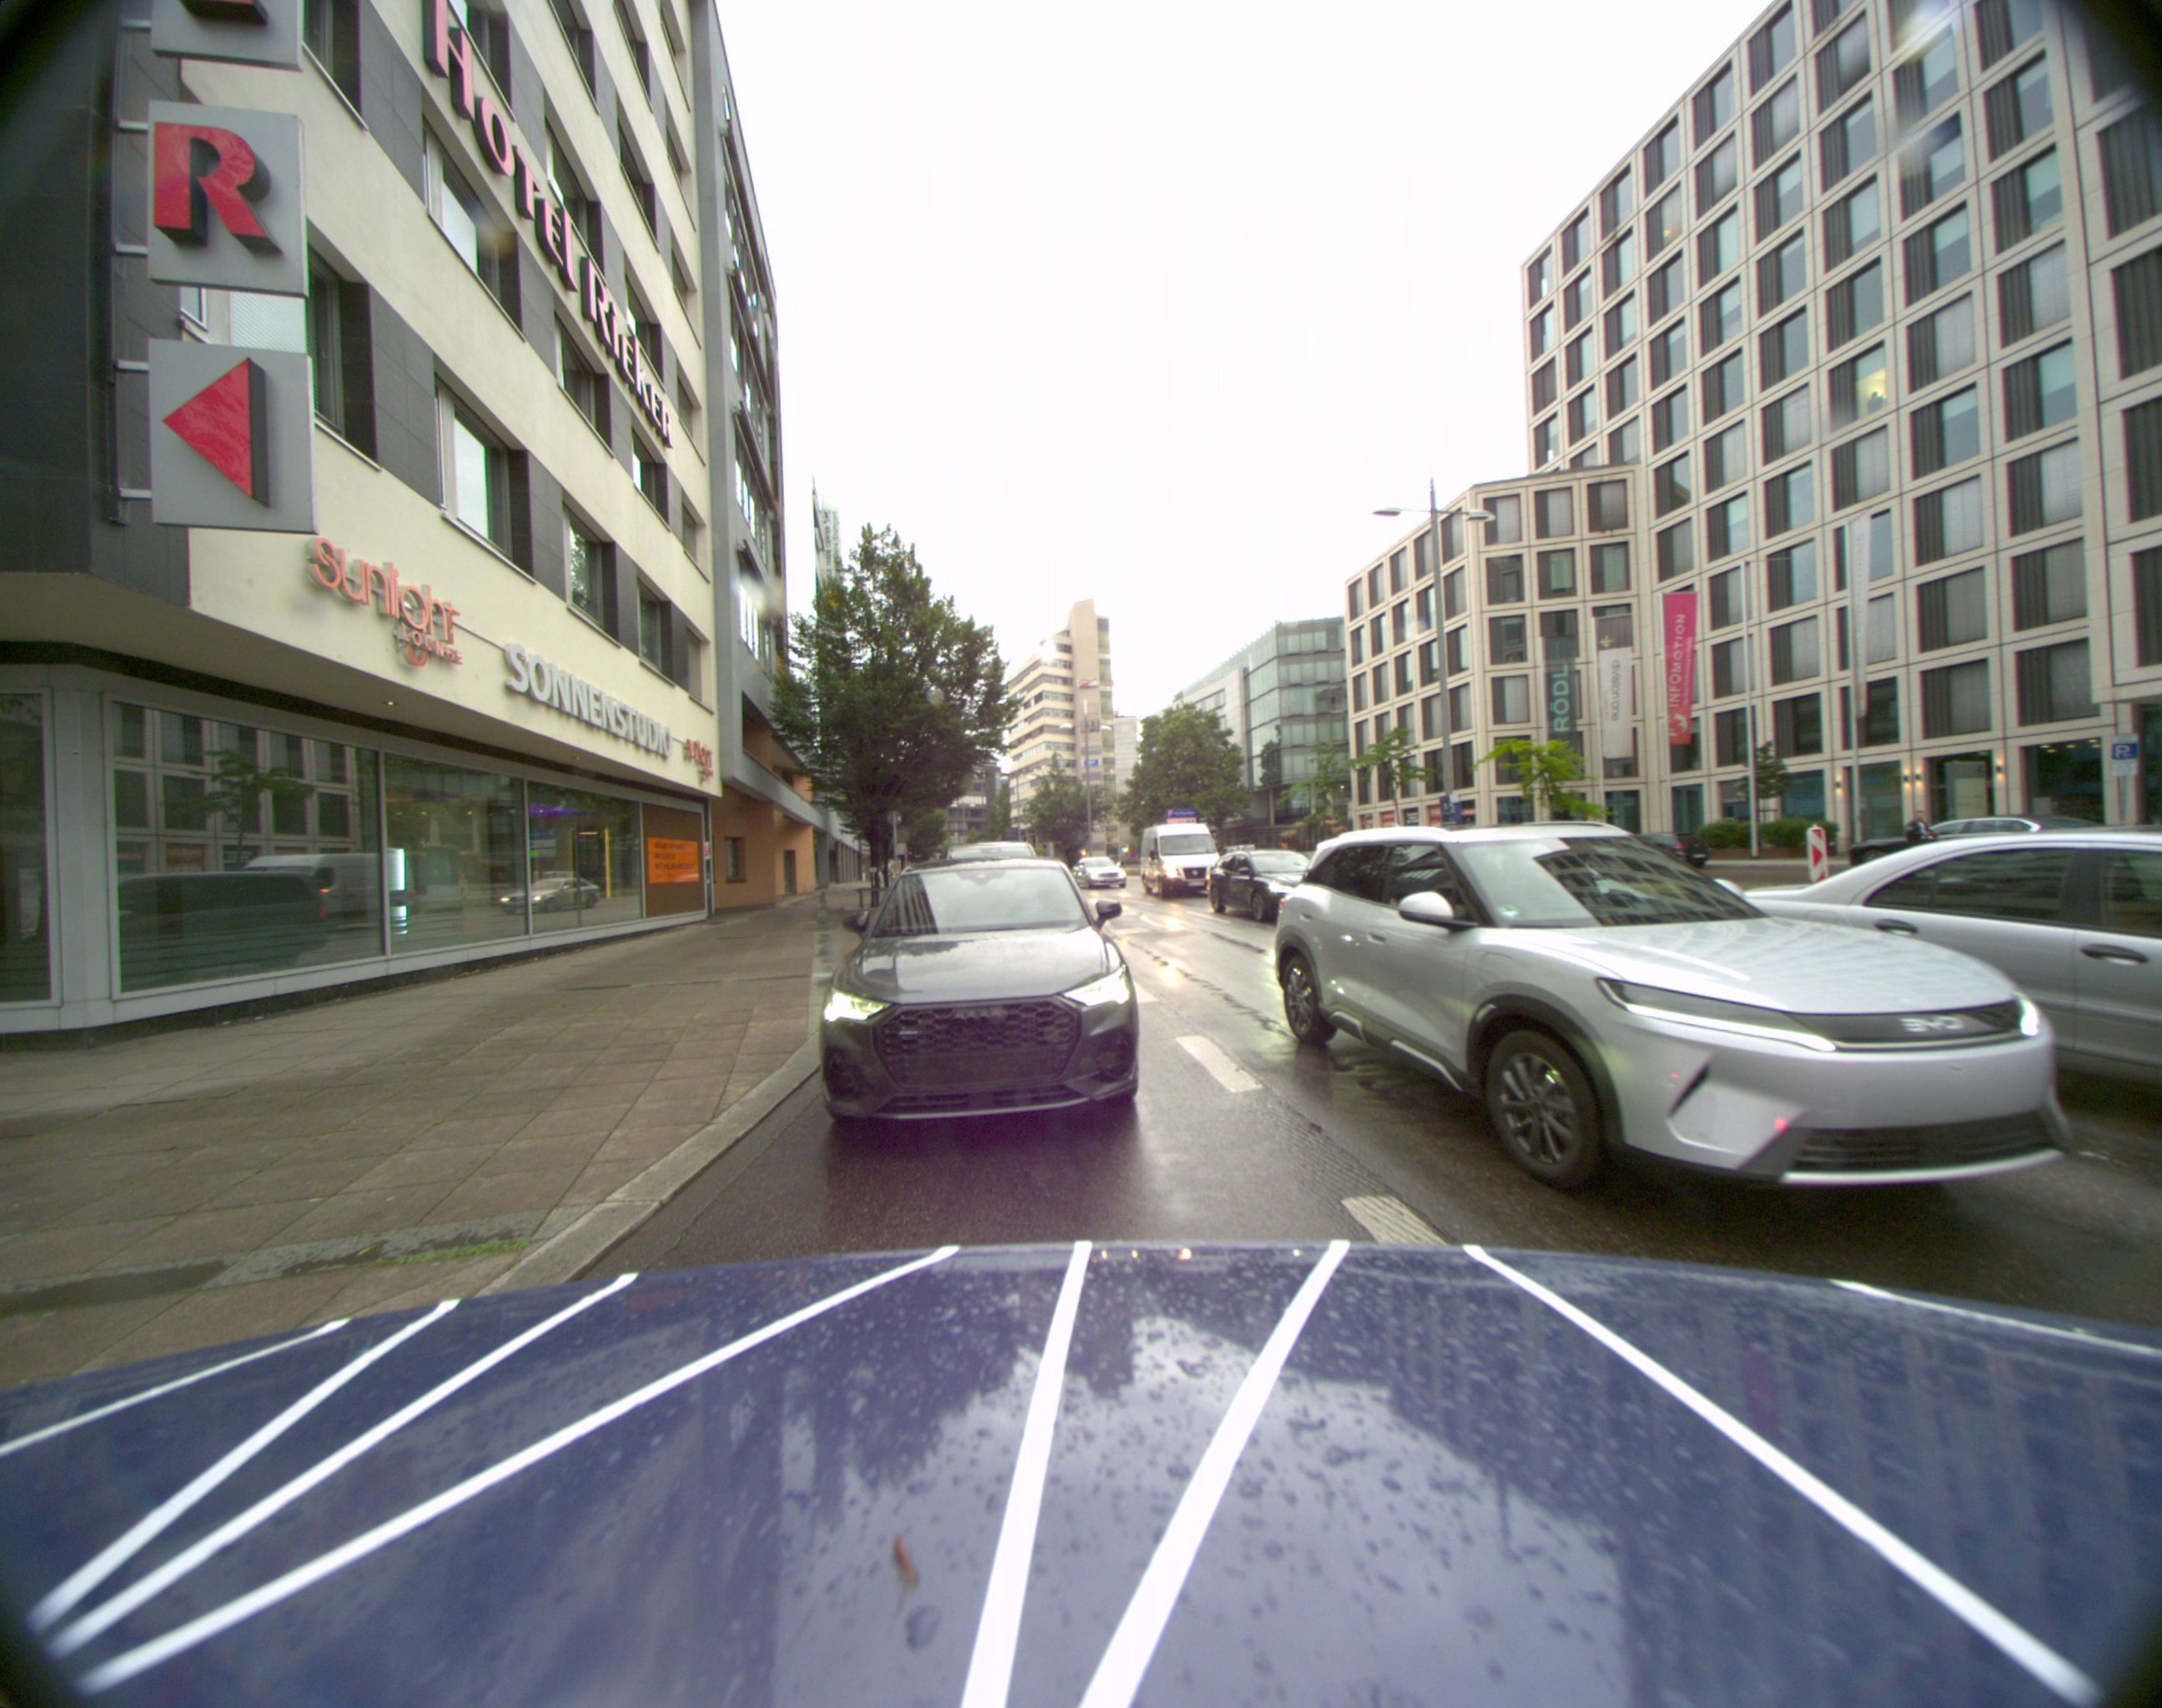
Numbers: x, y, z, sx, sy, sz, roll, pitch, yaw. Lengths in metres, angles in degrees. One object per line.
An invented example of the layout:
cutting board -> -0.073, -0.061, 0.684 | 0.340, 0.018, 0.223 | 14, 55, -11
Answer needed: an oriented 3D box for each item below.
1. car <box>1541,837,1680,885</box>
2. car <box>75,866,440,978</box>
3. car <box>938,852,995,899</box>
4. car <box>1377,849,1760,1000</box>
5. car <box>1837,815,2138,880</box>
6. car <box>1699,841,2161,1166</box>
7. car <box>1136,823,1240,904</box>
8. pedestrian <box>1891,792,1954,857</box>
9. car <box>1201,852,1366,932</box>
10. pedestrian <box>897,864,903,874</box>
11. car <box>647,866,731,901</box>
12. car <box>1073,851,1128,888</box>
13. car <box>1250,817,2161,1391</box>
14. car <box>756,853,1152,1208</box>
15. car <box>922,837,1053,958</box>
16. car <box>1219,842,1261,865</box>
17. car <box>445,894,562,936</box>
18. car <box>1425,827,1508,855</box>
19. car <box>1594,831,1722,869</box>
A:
car -> 18.296, 0.237, 26.480 | 1.703, 1.510, 3.870 | -1, 0, -12
car -> -15.784, 1.174, 15.133 | 1.999, 1.600, 4.924 | -3, 1, -4
car -> -5.304, 0.902, 34.600 | 2.061, 1.881, 5.043 | -4, 1, -13
car -> 6.057, 0.734, 10.115 | 1.776, 1.470, 4.122 | -4, 1, -15
car -> 24.687, -0.170, 21.090 | 1.703, 1.560, 5.178 | -1, 0, -12
car -> 5.757, 0.676, 3.622 | 1.738, 1.396, 4.380 | -3, 1, -6
car -> 3.492, 0.252, 26.196 | 2.260, 2.371, 5.716 | -3, 1, -4
pedestrian -> 23.407, -0.803, 21.152 | 0.614, 1.724, 0.966 | -4, 1, -11
car -> 4.221, 0.714, 16.616 | 1.905, 1.393, 4.238 | -3, 1, -8
pedestrian -> -29.289, 2.470, 122.968 | 0.654, 1.589, 1.057 | -4, 1, -18
car -> -16.771, 1.213, 32.761 | 1.721, 1.187, 3.998 | -3, 1, -4
car -> 0.840, 0.687, 35.367 | 1.786, 1.499, 3.996 | -3, 1, -9
car -> 2.608, 0.732, 4.459 | 1.813, 1.651, 4.167 | -3, 1, -6
car -> -0.742, 0.838, 5.854 | 1.802, 1.543, 4.386 | -3, 1, -4
car -> -1.825, 0.693, 15.165 | 2.060, 1.881, 5.045 | -3, 1, -6
car -> 15.183, -0.096, 72.930 | 2.000, 2.002, 4.910 | -4, 1, -12
car -> -23.669, 2.478, 31.262 | 3.391, 1.322, 1.564 | -4, 1, -15
car -> 21.064, -0.690, 41.754 | 1.703, 1.415, 4.369 | -1, 0, -12
car -> 23.025, -0.143, 30.518 | 1.703, 1.415, 3.951 | -1, 0, -12
